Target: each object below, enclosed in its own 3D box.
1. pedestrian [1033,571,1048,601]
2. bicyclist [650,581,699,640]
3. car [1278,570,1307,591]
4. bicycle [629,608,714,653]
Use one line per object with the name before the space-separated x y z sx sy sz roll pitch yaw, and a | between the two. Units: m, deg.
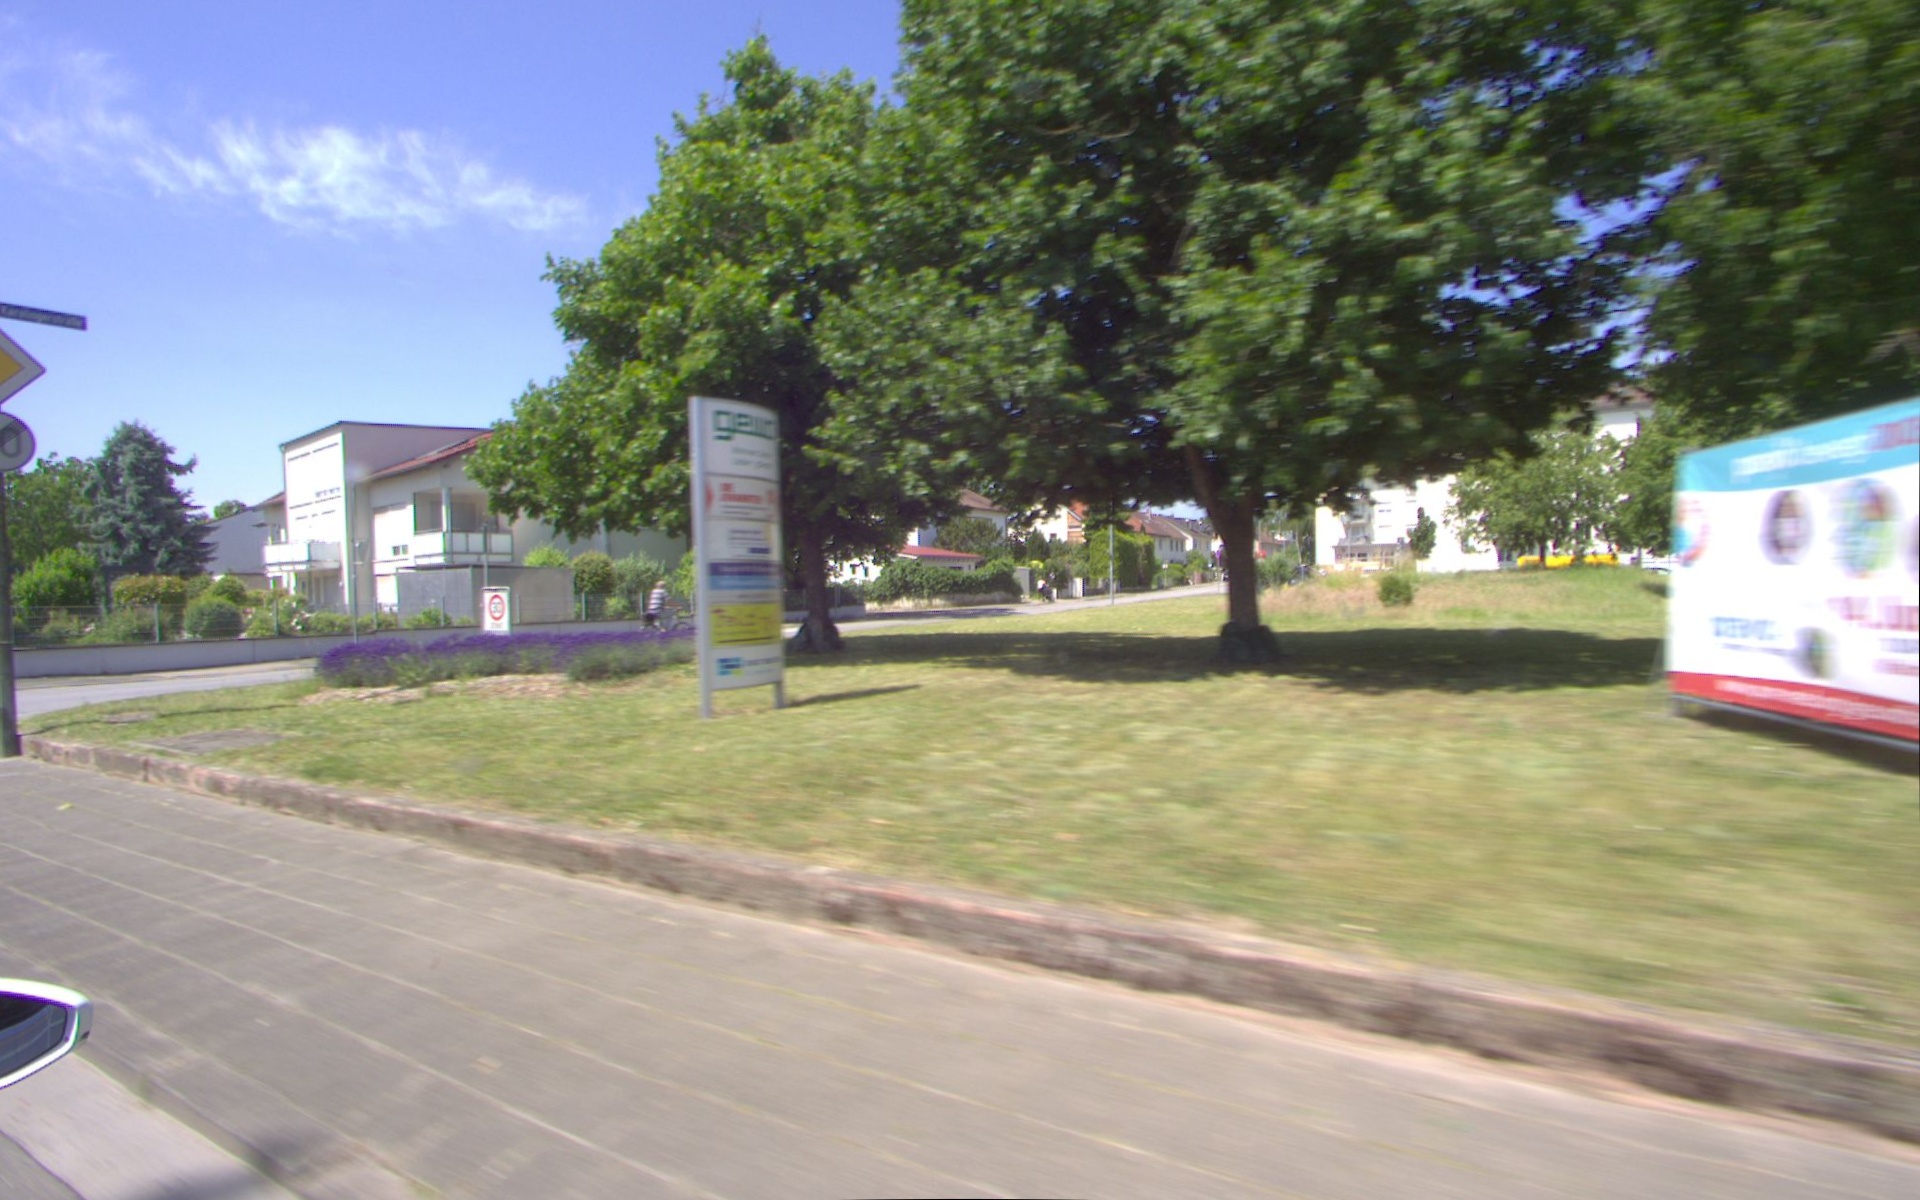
pedestrian | 5.069 -0.878 62.833 0.772 1.876 0.630 -1 -1 25
bicyclist | -7.772 0.281 27.276 0.846 1.551 0.921 0 2 39
car | 31.069 -1.828 93.482 1.504 1.953 3.156 0 2 40
bicycle | -7.822 0.801 27.215 0.806 1.118 2.129 0 2 39
